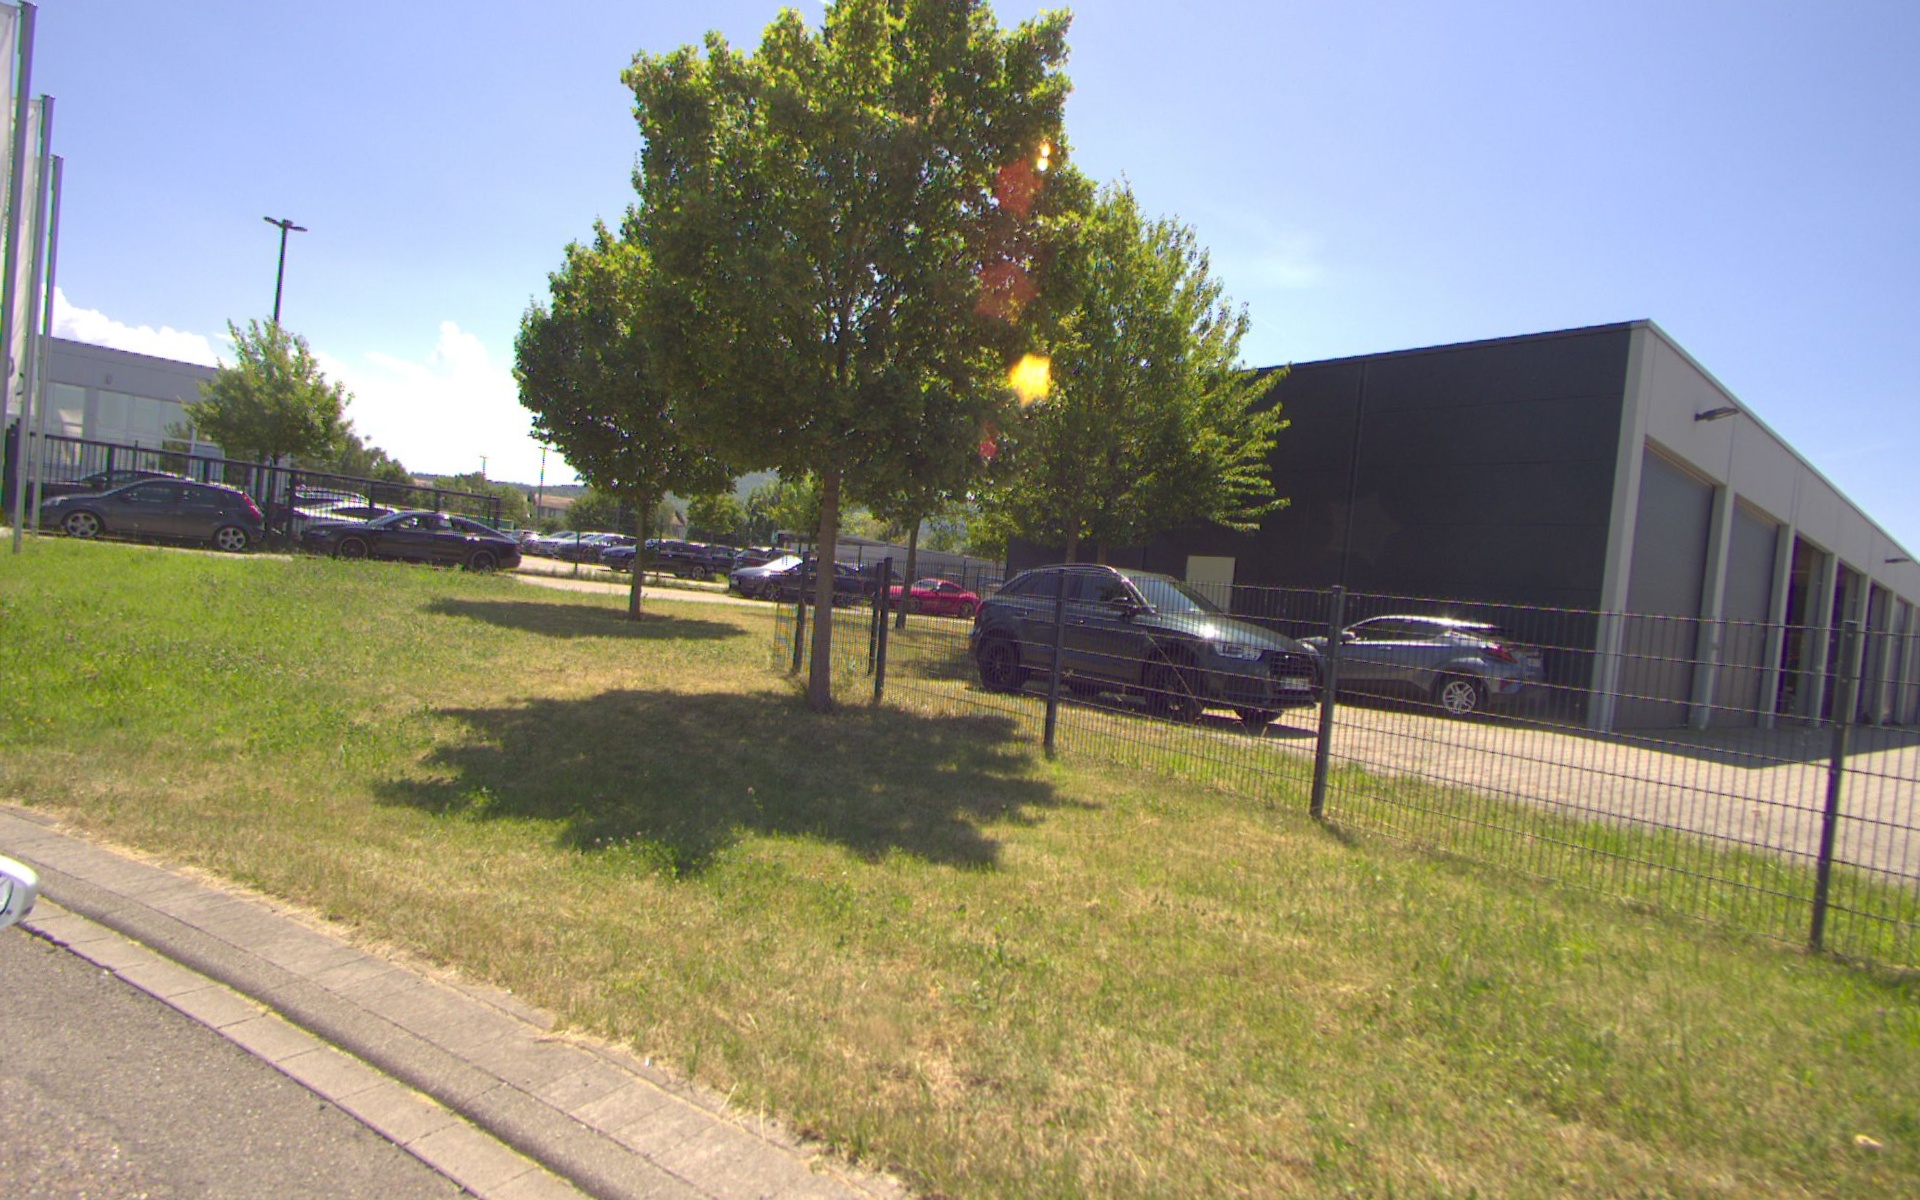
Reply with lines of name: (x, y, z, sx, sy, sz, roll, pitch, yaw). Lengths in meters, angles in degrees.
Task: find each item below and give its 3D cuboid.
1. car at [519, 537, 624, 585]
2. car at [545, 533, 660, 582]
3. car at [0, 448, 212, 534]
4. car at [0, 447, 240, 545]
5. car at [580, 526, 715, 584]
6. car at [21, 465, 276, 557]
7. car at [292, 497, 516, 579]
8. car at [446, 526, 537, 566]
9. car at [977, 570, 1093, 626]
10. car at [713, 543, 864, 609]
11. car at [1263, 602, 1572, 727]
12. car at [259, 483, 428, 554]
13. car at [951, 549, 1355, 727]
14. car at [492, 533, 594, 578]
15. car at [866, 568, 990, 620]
car: (-17.798, -1.761, 46.210, 1.974, 1.710, 3.976, 7, 1, 44)
car: (-15.005, -1.757, 42.310, 3.973, 1.576, 2.086, 5, 1, -44)
car: (-23.752, -2.989, 27.890, 4.593, 1.651, 1.944, 6, 2, -42)
car: (-20.279, -2.459, 24.167, 4.593, 1.651, 1.944, 6, 2, -42)
car: (-11.918, -1.693, 38.555, 1.974, 1.710, 4.450, 7, 1, 44)
car: (-17.437, -1.888, 21.836, 4.111, 1.367, 1.760, 6, 2, -40)
car: (-13.623, -1.498, 24.787, 4.535, 1.419, 1.760, 6, 2, -39)
car: (-25.463, -2.913, 54.731, 1.974, 1.710, 3.976, 7, 1, 44)
car: (2.968, -0.055, 39.311, 4.360, 1.668, 1.805, 6, 2, -40)
car: (-5.432, -0.743, 32.140, 4.370, 1.587, 1.760, 6, 2, -40)
car: (7.278, 0.983, 16.336, 1.767, 1.586, 4.125, 5, -1, -41)
car: (-19.143, -2.505, 31.351, 4.182, 1.651, 1.774, 5, 1, -42)
car: (1.999, 0.336, 11.448, 1.767, 1.621, 4.235, 5, -1, -41)
car: (-19.974, -2.122, 48.291, 1.974, 1.710, 3.976, 7, 1, 44)
car: (-1.104, -0.188, 36.049, 4.138, 1.375, 1.760, 6, 2, -40)
